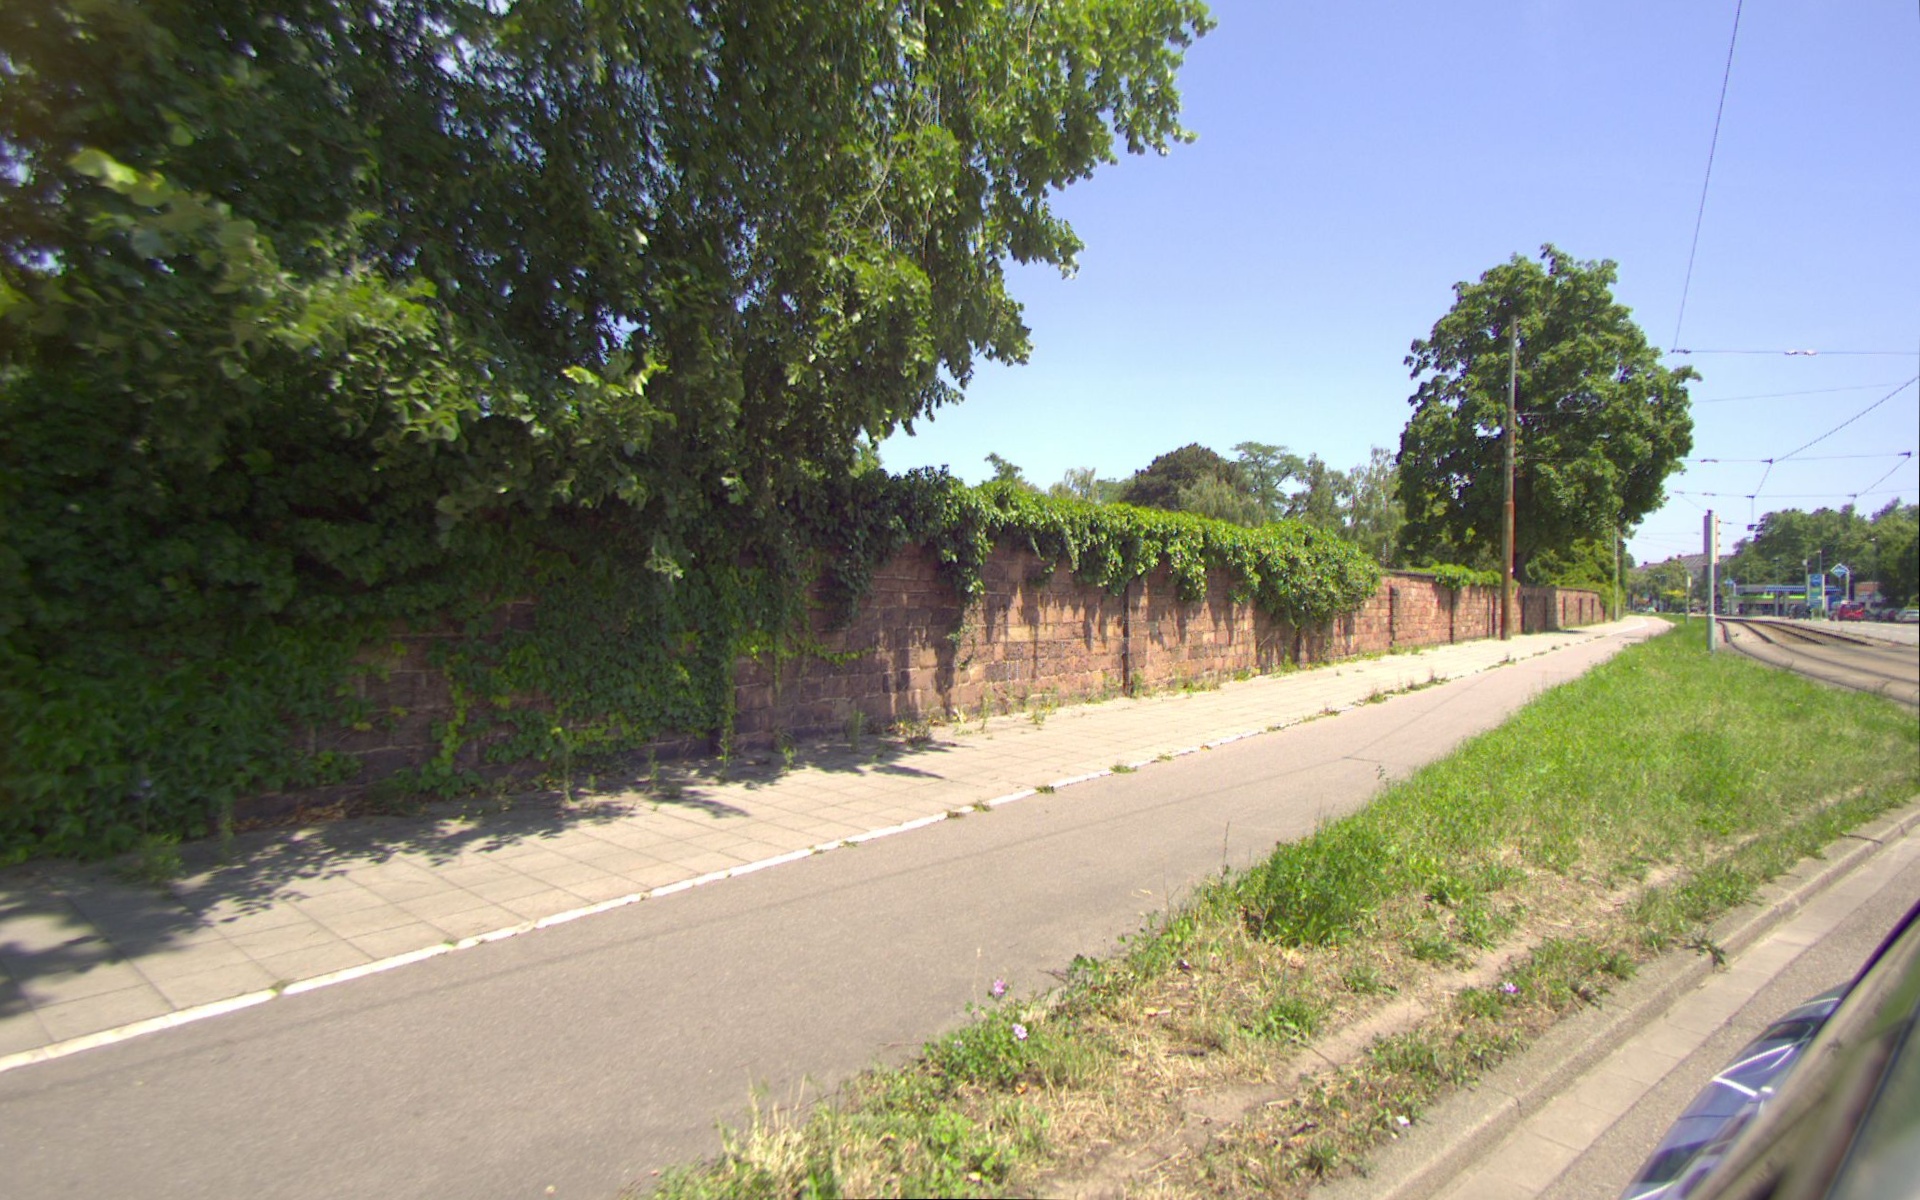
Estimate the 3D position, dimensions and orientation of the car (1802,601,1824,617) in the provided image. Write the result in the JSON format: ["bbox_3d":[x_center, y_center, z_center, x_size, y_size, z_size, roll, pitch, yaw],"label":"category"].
[{"bbox_3d":[111.537,1.196,132.318,1.914,1.934,4.510,2,1,37],"label":"car"}]

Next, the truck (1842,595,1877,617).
[{"bbox_3d":[116.244,0.775,130.833,2.115,2.614,4.815,-4,-2,28],"label":"truck"}]

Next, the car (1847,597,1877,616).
[{"bbox_3d":[97.935,0.675,109.936,1.894,1.950,4.757,3,2,36],"label":"car"}]

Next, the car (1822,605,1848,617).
[{"bbox_3d":[121.829,1.517,140.952,1.849,1.515,3.436,-4,-2,28],"label":"car"}]
